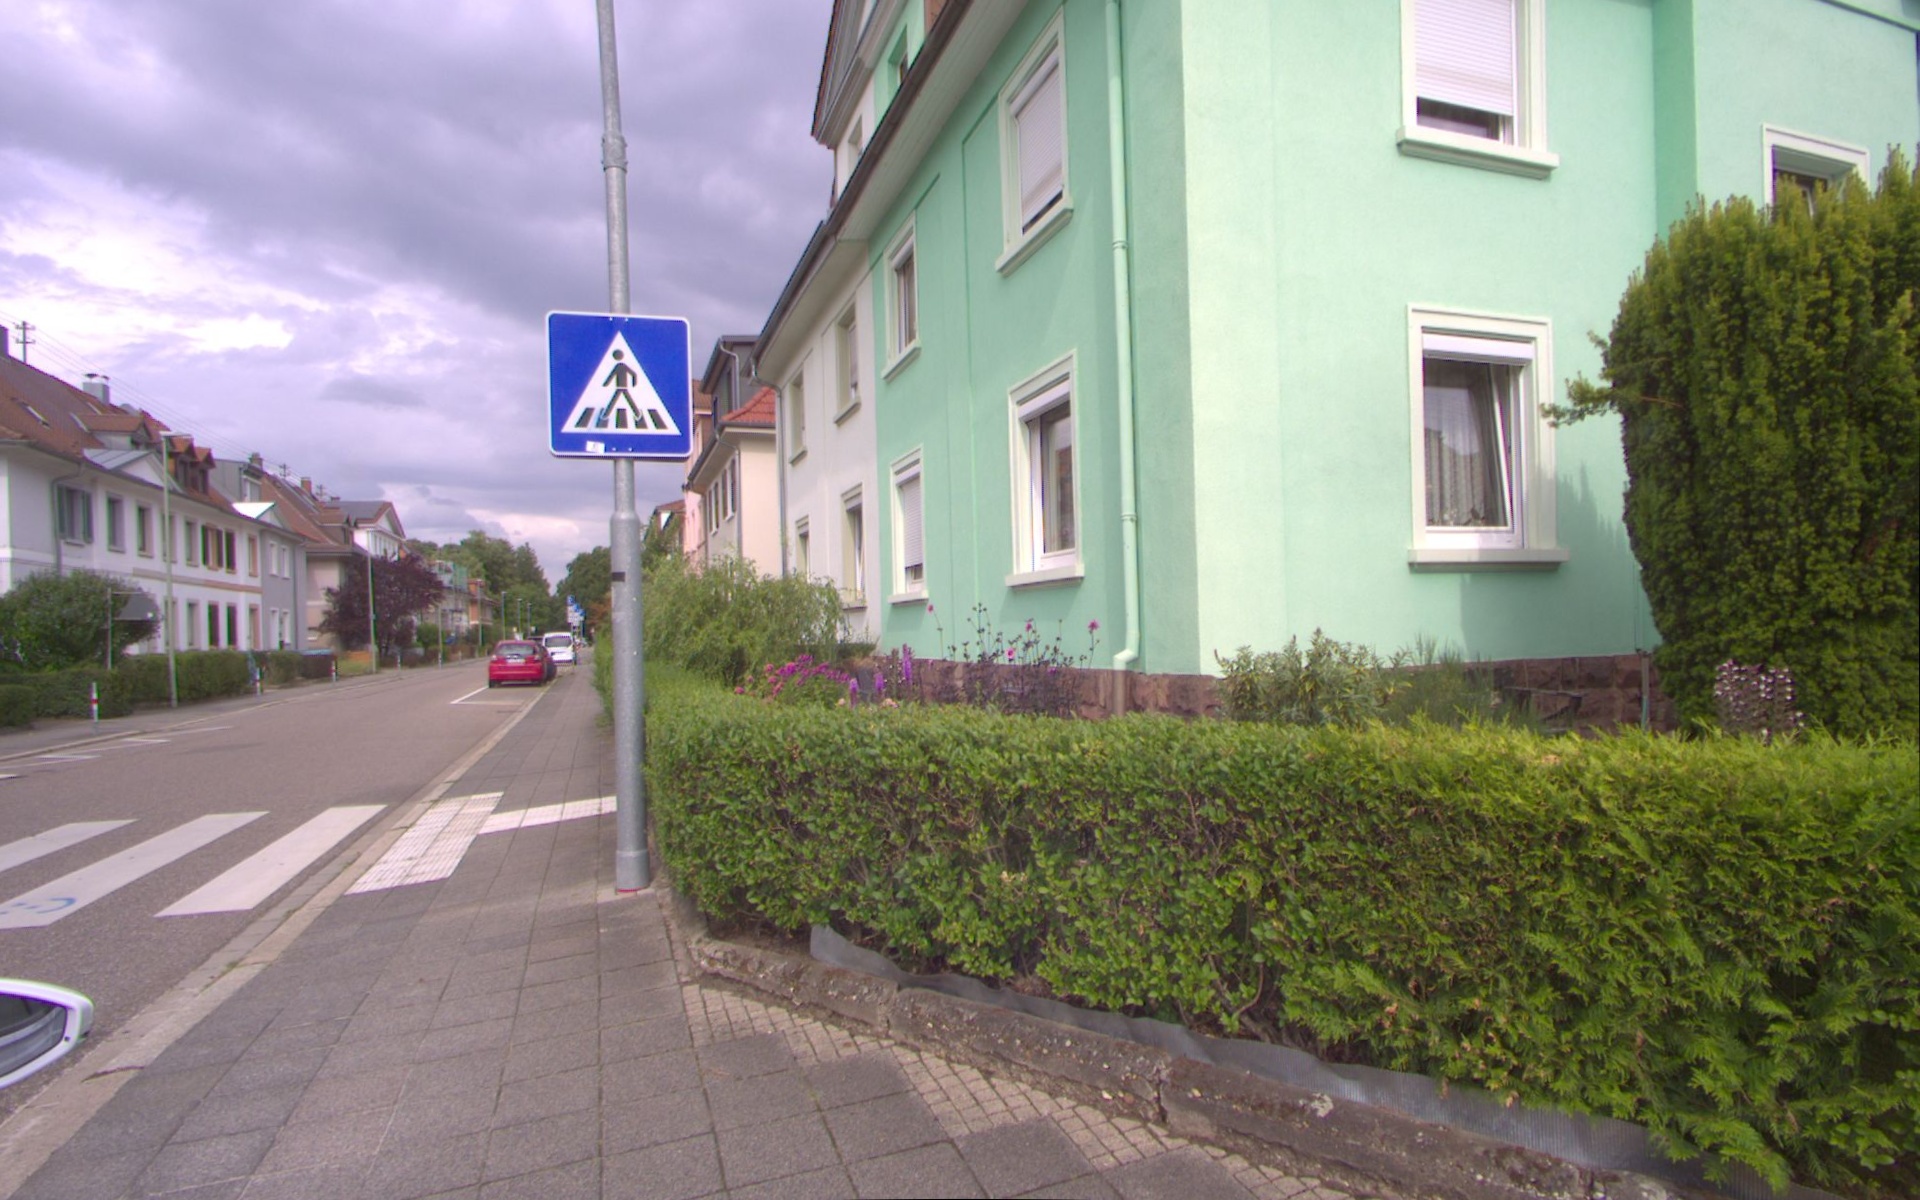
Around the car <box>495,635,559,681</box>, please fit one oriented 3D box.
[{"bbox_3d":[-16.669,2.193,38.717,1.966,1.594,3.992,-1,-1,-20],"label":"car"}]

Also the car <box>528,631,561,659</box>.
[{"bbox_3d":[-30.121,3.305,72.719,1.966,1.854,3.995,0,-4,-20],"label":"car"}]

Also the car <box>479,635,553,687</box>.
[{"bbox_3d":[-14.940,2.014,33.887,1.966,1.594,3.992,-1,-1,-20],"label":"car"}]

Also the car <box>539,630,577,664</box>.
[{"bbox_3d":[-24.191,2.821,60.336,1.966,1.928,3.992,-1,-1,-20],"label":"car"}]
